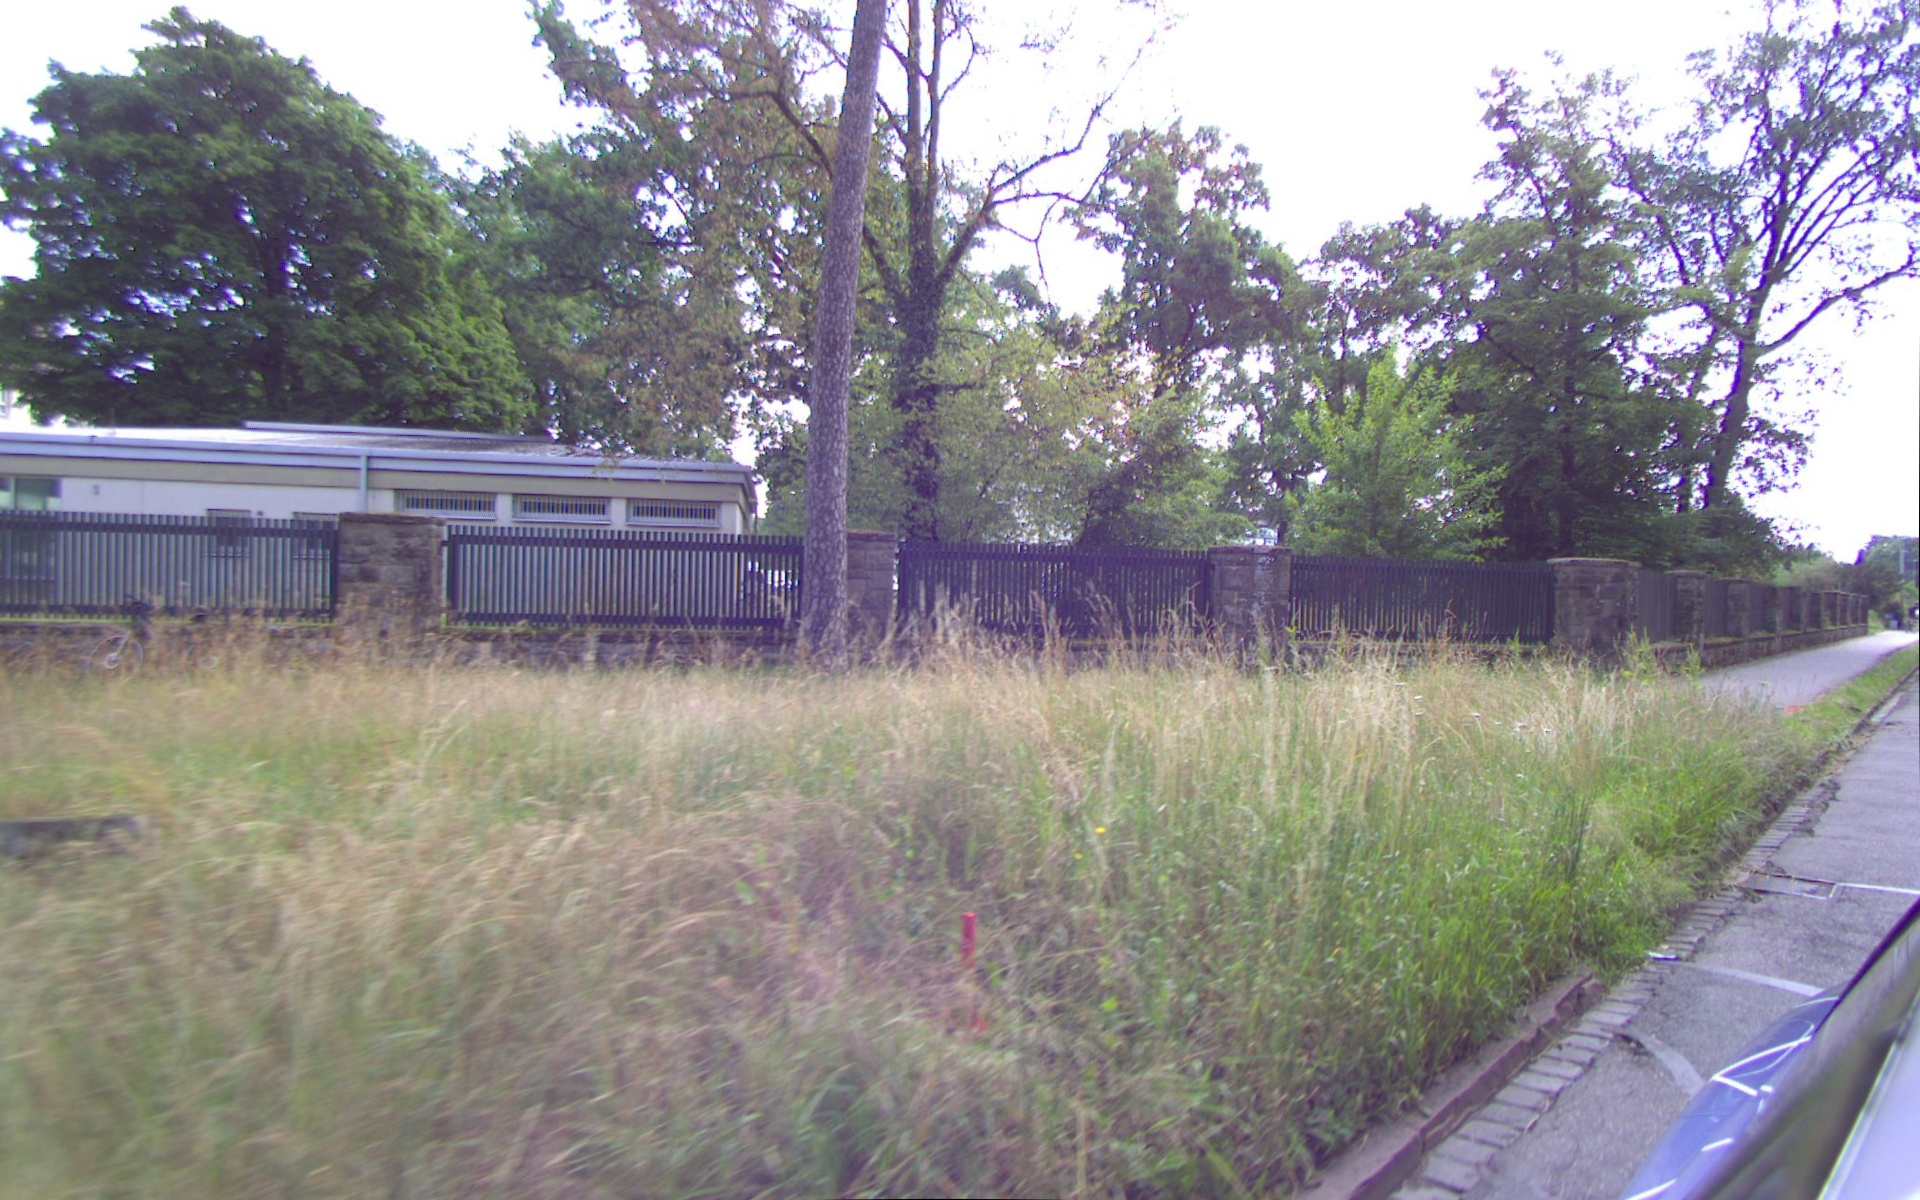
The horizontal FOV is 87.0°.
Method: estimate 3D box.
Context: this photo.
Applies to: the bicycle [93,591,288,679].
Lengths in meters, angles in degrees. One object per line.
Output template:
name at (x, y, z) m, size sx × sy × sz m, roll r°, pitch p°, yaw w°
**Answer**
bicycle at (-9.307, 0.426, 12.281) m, size 1.912 × 1.029 × 0.374 m, roll 1°, pitch 0°, yaw -10°
